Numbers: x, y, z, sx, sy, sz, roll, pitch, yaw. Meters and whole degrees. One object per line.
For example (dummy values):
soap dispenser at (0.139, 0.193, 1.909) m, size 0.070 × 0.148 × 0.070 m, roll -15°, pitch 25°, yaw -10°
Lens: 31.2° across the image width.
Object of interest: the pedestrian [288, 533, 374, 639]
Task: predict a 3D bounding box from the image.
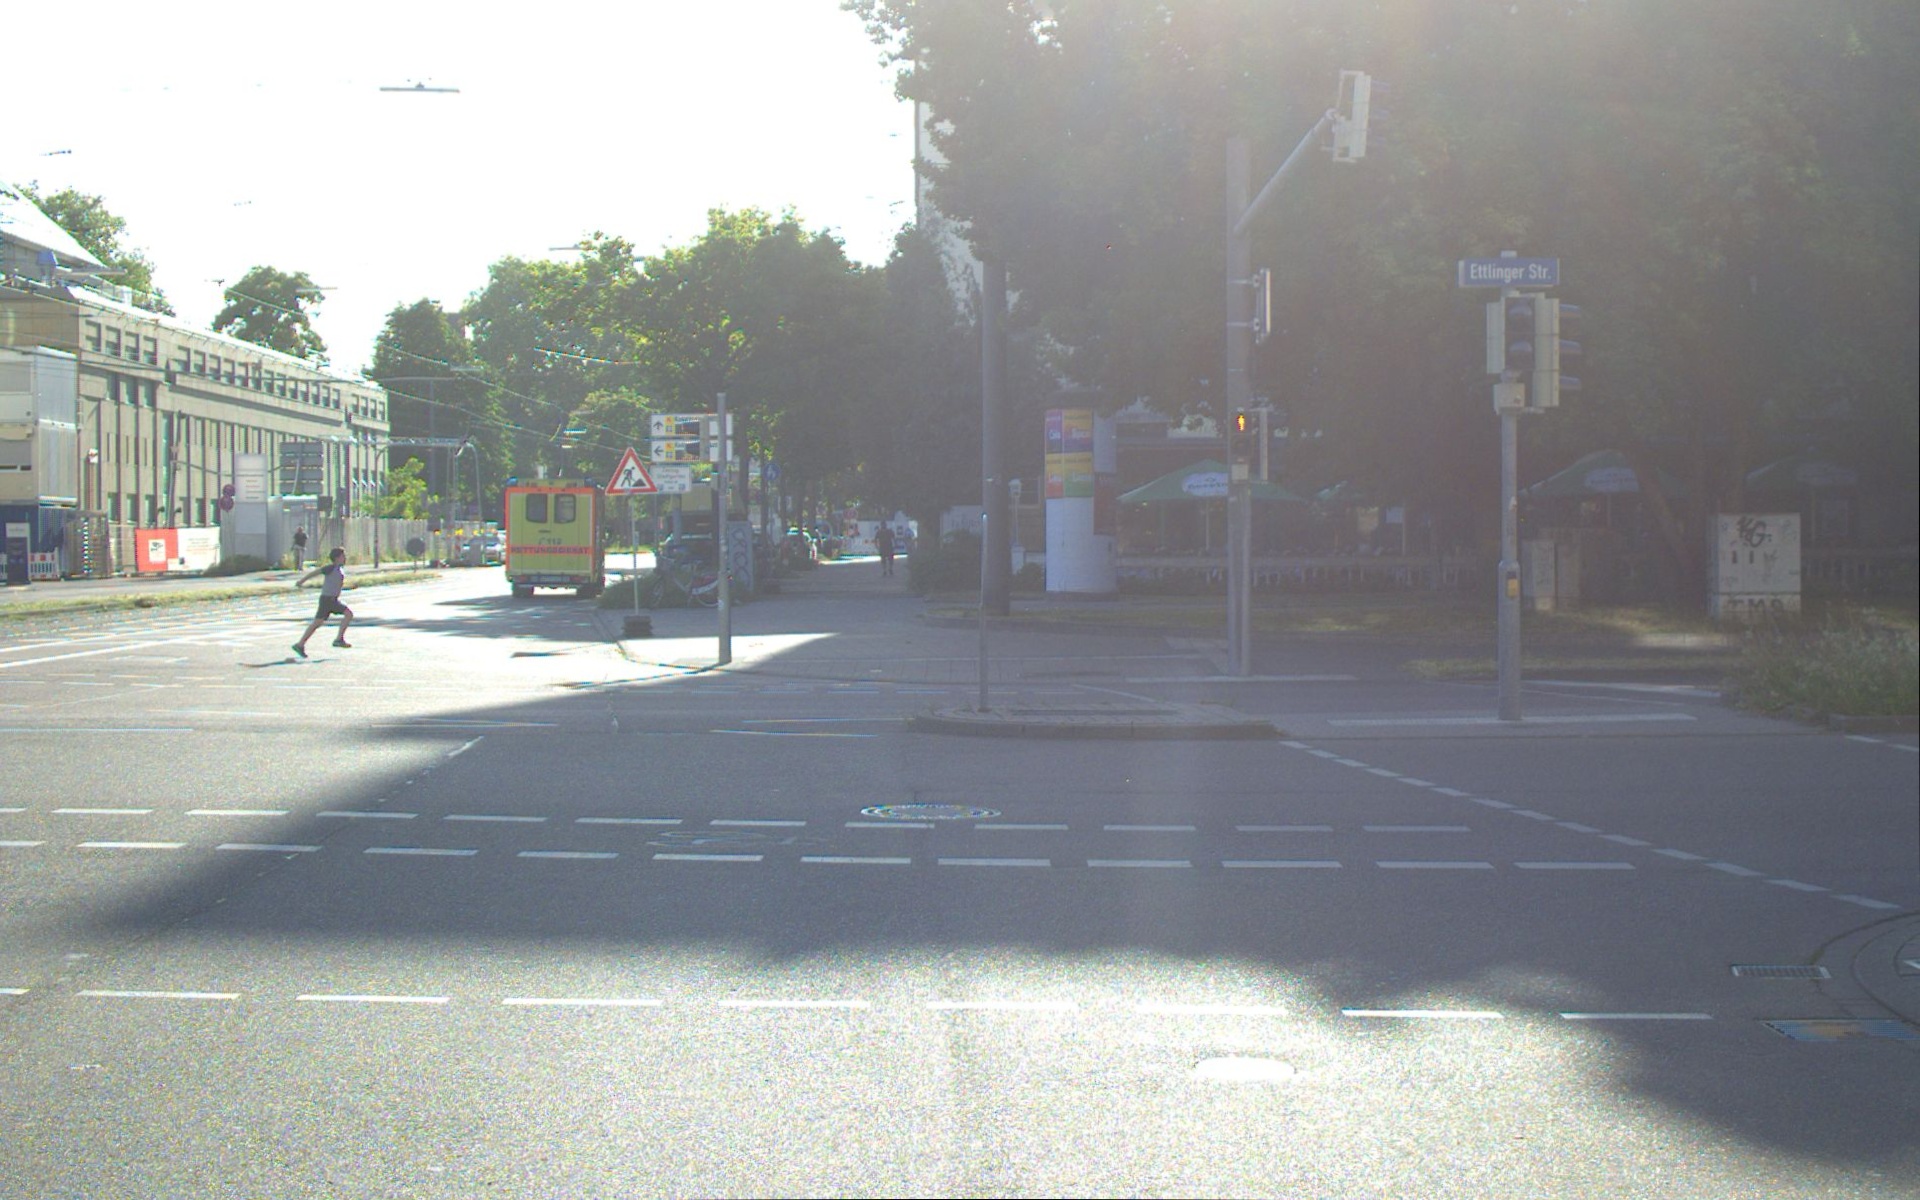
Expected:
pedestrian at (-7.948, -0.181, 43.462) m, size 0.993 × 1.313 × 0.767 m, roll -1°, pitch 1°, yaw -6°

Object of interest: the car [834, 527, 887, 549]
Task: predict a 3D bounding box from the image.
car at (-6.106, -3.810, 211.172) m, size 3.217 × 1.259 × 1.373 m, roll 1°, pitch 0°, yaw -1°

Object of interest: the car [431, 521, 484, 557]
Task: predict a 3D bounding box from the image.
car at (-22.825, -2.779, 156.381) m, size 1.894 × 1.601 × 4.501 m, roll -1°, pitch 1°, yaw -2°

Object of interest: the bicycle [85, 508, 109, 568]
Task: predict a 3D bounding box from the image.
bicycle at (-32.710, -2.352, 130.254) m, size 0.571 × 2.288 × 1.422 m, roll 0°, pitch 1°, yaw -2°

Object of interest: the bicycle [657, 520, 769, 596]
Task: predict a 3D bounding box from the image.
bicycle at (-5.833, -0.995, 81.384) m, size 2.547 × 1.737 × 1.037 m, roll 1°, pitch 0°, yaw 0°

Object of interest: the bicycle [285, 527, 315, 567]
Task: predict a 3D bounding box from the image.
bicycle at (-25.438, -2.041, 132.487) m, size 0.689 × 1.506 × 2.945 m, roll 1°, pitch 1°, yaw -2°

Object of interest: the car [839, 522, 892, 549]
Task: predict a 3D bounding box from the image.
car at (-5.868, -4.011, 213.415) m, size 3.214 × 1.583 × 1.446 m, roll 1°, pitch 0°, yaw -4°

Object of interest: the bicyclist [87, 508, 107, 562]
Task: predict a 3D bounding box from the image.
bicyclist at (-32.708, -2.460, 130.258) m, size 0.571 × 2.017 × 0.762 m, roll 0°, pitch 1°, yaw -2°

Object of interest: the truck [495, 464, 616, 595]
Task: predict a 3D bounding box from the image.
truck at (-9.717, -1.675, 82.172) m, size 2.716 × 3.005 × 6.491 m, roll 0°, pitch 1°, yaw -8°

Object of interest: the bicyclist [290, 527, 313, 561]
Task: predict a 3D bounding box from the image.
bicyclist at (-25.389, -2.156, 132.556) m, size 0.689 × 1.323 × 1.000 m, roll 1°, pitch 0°, yaw -2°
